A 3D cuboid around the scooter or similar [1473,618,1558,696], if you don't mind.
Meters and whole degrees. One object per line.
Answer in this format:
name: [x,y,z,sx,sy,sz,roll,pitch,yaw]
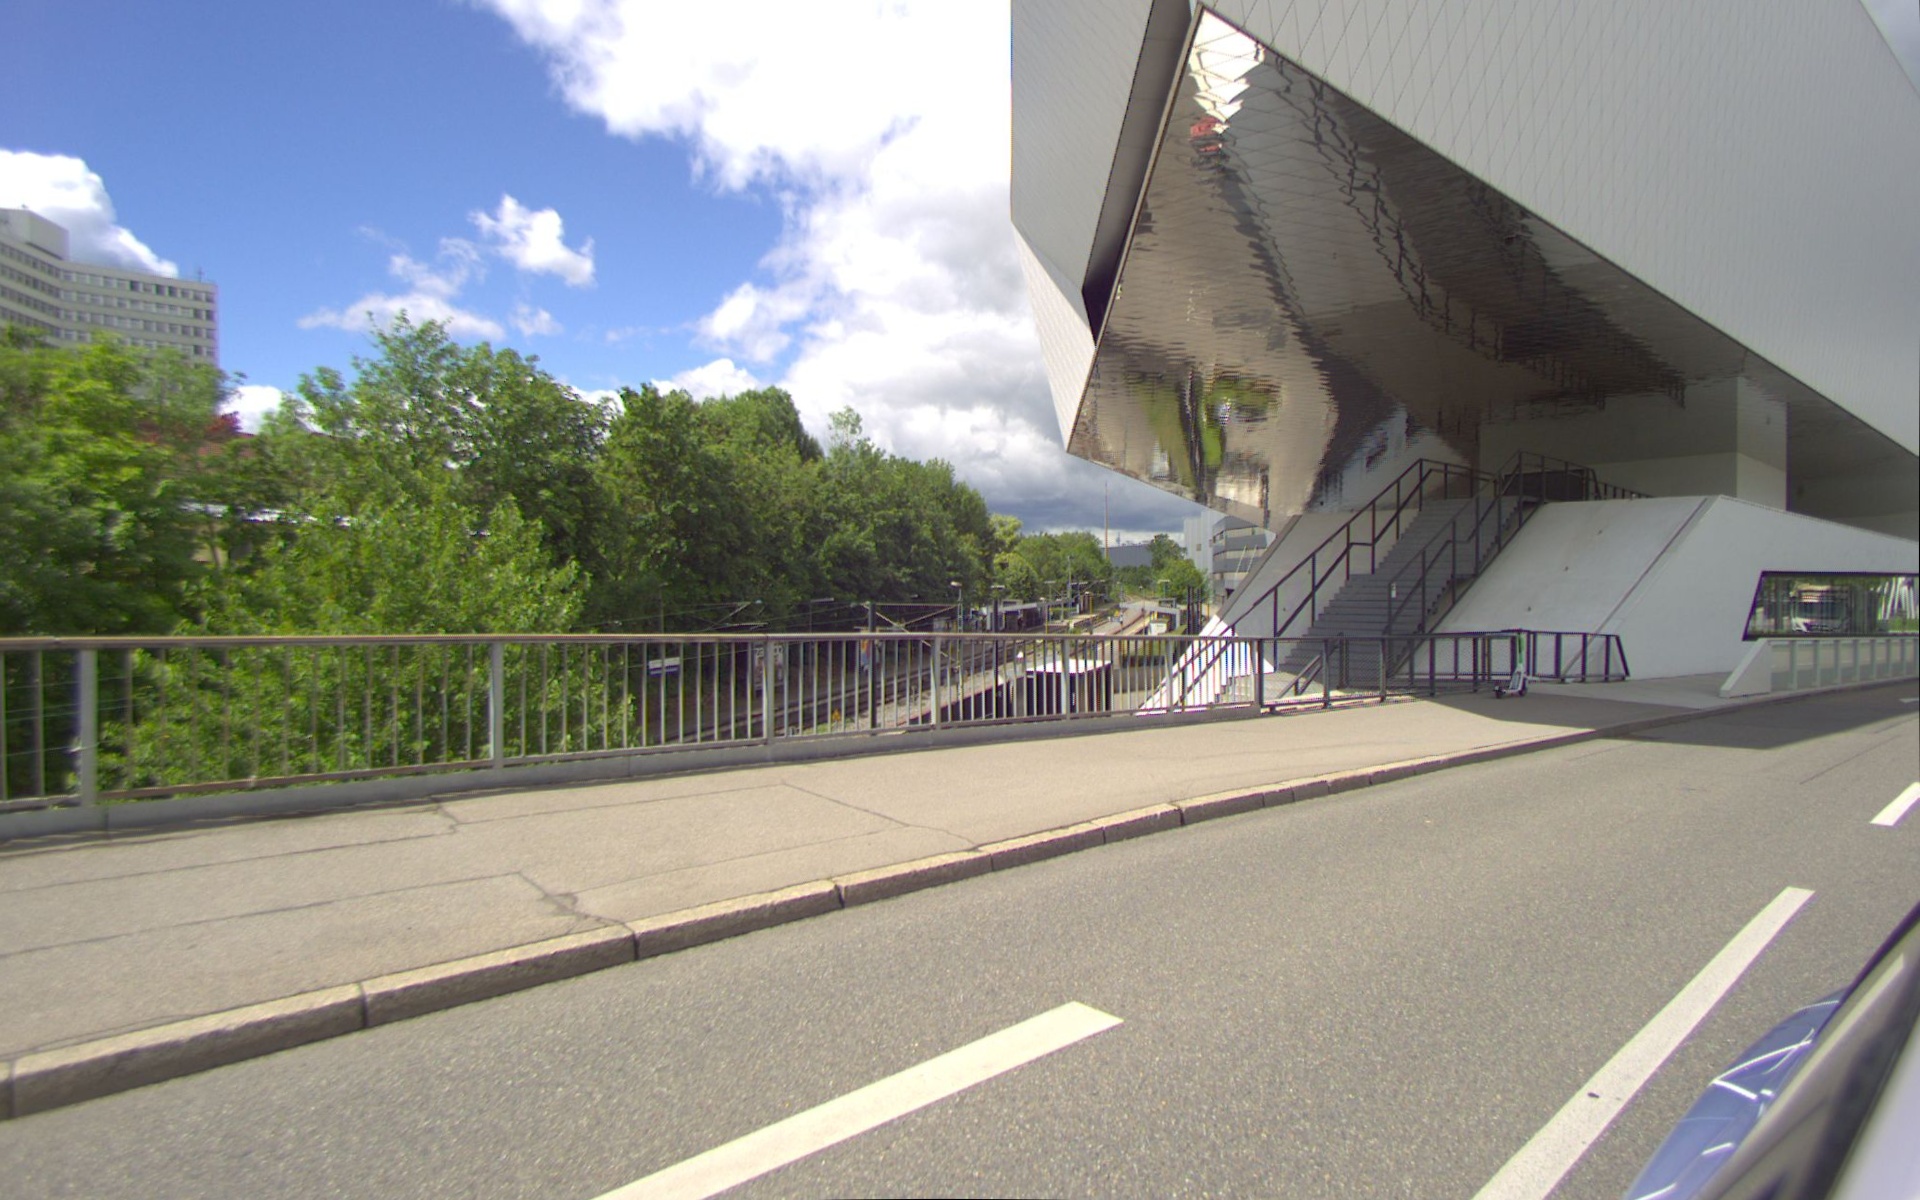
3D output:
scooter or similar: [9.393,0.926,17.089,1.825,1.229,0.654,1,1,-41]
